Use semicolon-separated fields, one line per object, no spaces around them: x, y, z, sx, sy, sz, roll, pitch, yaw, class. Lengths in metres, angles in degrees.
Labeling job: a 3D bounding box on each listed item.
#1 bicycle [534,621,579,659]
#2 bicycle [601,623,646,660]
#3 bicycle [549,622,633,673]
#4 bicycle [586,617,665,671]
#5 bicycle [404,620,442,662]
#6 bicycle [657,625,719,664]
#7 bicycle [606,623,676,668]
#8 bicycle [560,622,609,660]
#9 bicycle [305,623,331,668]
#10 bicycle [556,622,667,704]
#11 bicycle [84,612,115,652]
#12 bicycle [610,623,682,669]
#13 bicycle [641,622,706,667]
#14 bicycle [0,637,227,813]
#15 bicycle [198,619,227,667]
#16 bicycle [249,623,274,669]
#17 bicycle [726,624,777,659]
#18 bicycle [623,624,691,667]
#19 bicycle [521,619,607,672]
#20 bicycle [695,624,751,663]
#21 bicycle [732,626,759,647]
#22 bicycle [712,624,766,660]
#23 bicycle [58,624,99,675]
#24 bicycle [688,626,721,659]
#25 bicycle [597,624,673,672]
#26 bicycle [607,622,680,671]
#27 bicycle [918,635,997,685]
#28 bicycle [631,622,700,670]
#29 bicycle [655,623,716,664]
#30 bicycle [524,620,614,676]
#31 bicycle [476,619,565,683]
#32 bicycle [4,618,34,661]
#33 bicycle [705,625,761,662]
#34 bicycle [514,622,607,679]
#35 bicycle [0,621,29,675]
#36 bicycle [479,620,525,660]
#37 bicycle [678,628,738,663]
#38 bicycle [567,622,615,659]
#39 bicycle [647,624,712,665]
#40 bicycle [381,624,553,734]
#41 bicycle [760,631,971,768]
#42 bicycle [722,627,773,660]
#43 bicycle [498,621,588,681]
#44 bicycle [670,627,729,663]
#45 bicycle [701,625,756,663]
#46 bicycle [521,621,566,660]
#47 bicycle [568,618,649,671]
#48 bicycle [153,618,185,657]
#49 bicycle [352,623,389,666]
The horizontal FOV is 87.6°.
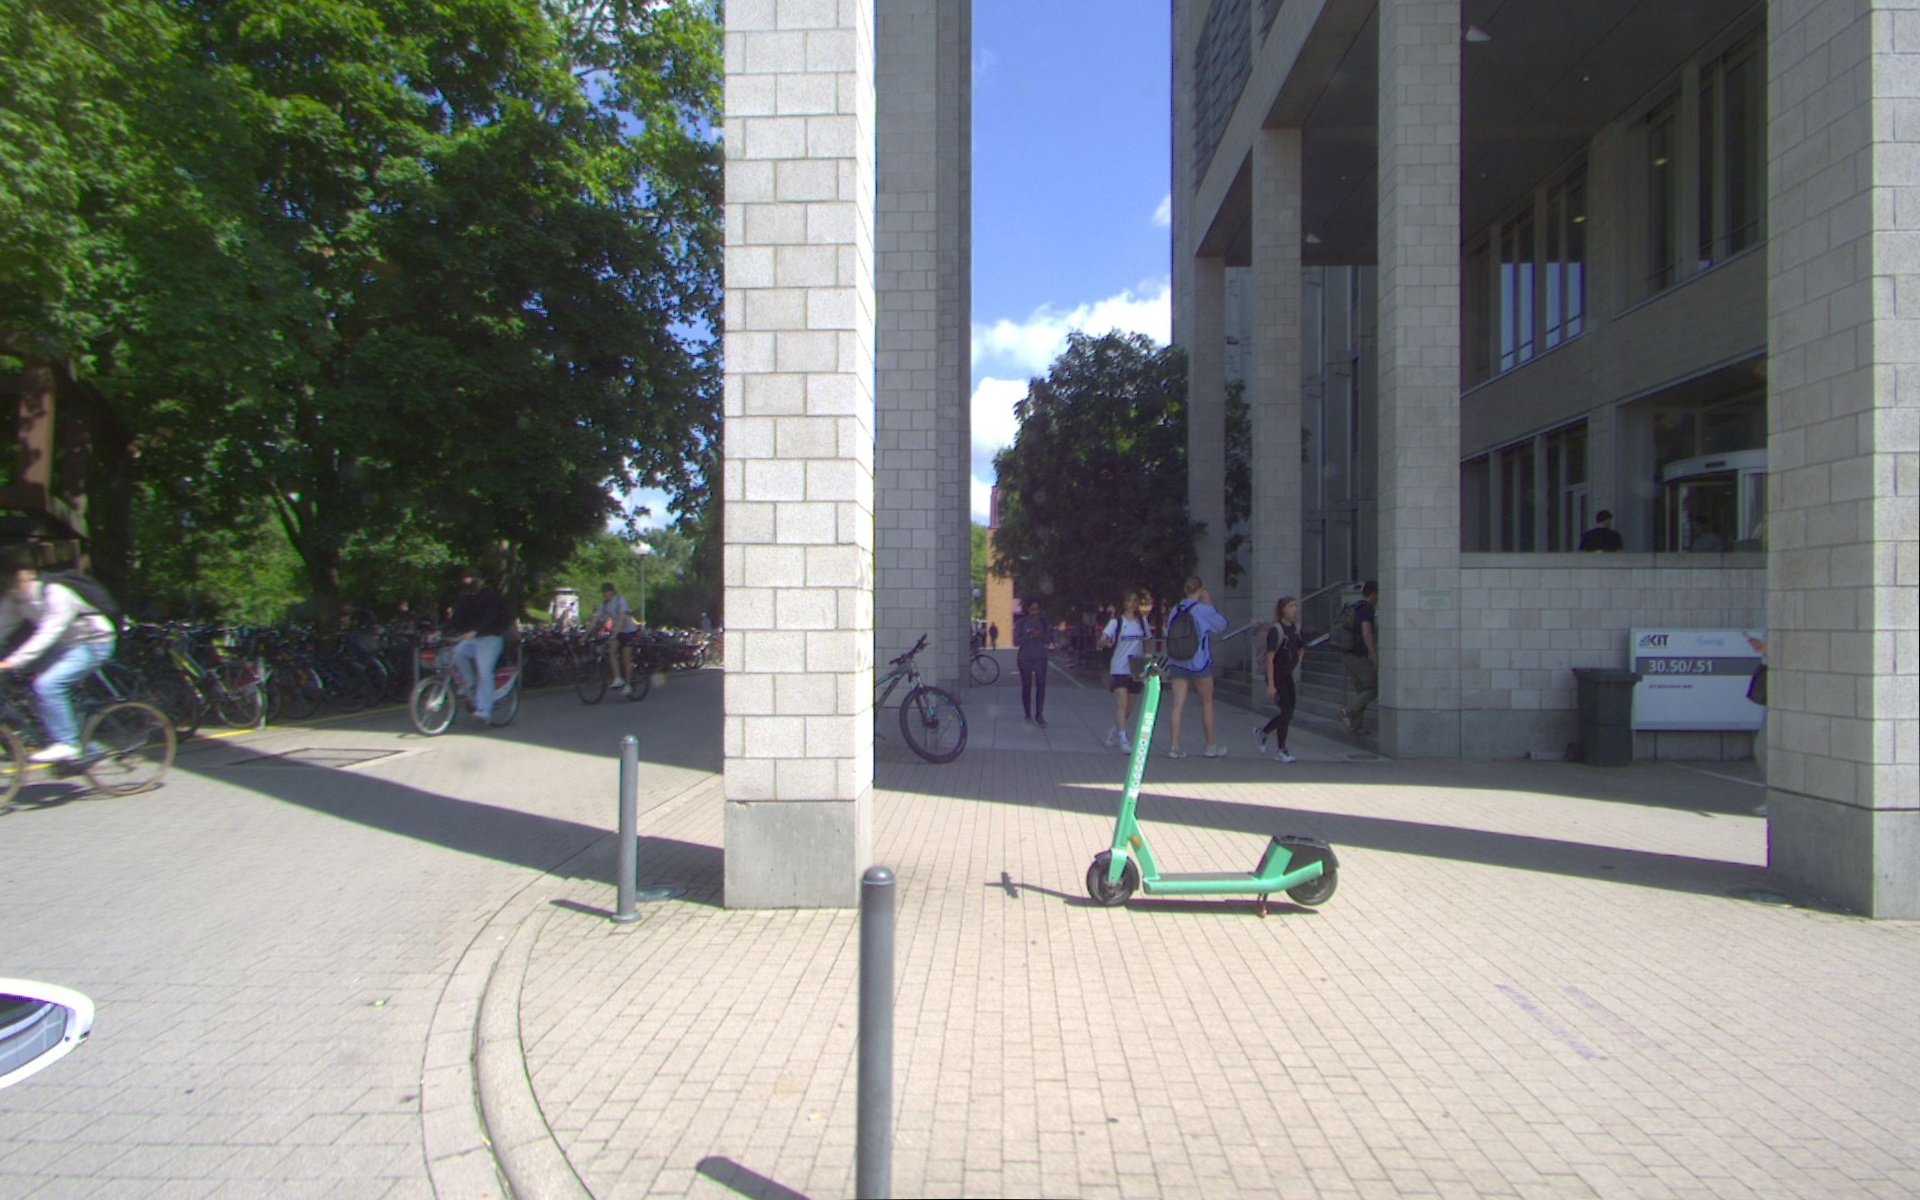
-12.075;1.179;29.971;1.678;1.097;0.471;0;-2;39;bicycle
-10.507;1.297;31.214;1.678;1.097;0.471;0;-2;38;bicycle
-8.433;1.087;22.927;1.708;1.122;0.497;2;-1;-10;bicycle
-8.066;1.070;24.164;1.707;1.251;0.497;2;-1;-5;bicycle
-14.587;1.092;27.179;0.469;1.097;1.684;2;-2;-42;bicycle
-7.940;1.300;29.239;1.673;1.122;0.472;2;-1;-25;bicycle
-8.271;1.183;26.009;1.667;1.122;0.474;2;-1;-9;bicycle
-11.285;1.220;30.066;1.676;1.097;0.471;0;-2;34;bicycle
-16.333;1.150;25.460;0.468;1.097;1.688;2;-2;-35;bicycle
-5.521;0.983;16.010;0.790;1.187;1.886;2;-2;11;bicycle
-24.746;0.916;28.784;1.759;1.124;0.513;0;-2;45;bicycle
-8.021;1.177;25.624;1.667;1.122;0.474;2;-1;-9;bicycle
-7.985;1.234;27.980;1.667;1.203;0.474;2;-1;-9;bicycle
-6.389;0.843;7.109;0.630;1.122;1.814;2;-1;26;bicycle
-17.700;1.016;23.730;0.468;1.097;1.688;2;-2;-35;bicycle
-17.106;1.118;24.529;0.468;1.097;1.688;2;-2;-35;bicycle
-7.292;1.463;35.061;1.667;1.174;0.474;2;-1;-6;bicycle
-8.293;1.237;27.442;1.667;1.122;0.566;2;-1;-9;bicycle
-8.717;1.011;22.087;1.712;1.122;0.496;2;-1;-21;bicycle
-7.499;1.382;31.731;1.669;1.183;0.473;2;-1;-14;bicycle
-11.612;1.987;54.244;0.466;1.060;1.696;3;-2;24;bicycle
-7.460;1.422;33.837;1.667;1.183;0.474;1;-1;-3;bicycle
-19.675;1.092;22.371;0.468;1.097;1.688;2;-2;-35;bicycle
-8.669;1.439;33.979;0.498;1.097;1.700;1;-2;6;bicycle
-7.981;1.173;24.638;1.667;1.122;0.497;2;-1;-8;bicycle
-7.941;1.168;25.162;1.667;1.160;0.474;2;-1;-9;bicycle
-0.060;1.308;21.881;1.710;1.053;0.449;0;0;-2;bicycle
-7.807;1.218;26.587;1.667;1.214;0.537;2;-1;-6;bicycle
-8.132;1.298;29.661;1.673;1.172;0.472;2;-1;-25;bicycle
-8.350;1.027;21.417;1.707;1.140;0.497;1;-1;-2;bicycle
-8.458;0.970;19.273;1.600;1.158;0.496;1;-1;17;bicycle
-25.857;1.074;27.507;1.759;1.124;0.513;0;-2;45;bicycle
-7.474;1.435;32.984;1.749;1.183;0.474;1;-1;16;bicycle
-8.290;1.039;20.793;1.707;1.122;0.497;1;-1;3;bicycle
-20.491;1.014;21.465;0.468;1.097;1.847;2;-2;-35;bicycle
-13.139;1.147;28.730;1.678;1.097;0.471;0;-2;39;bicycle
-7.658;1.403;30.490;1.677;1.031;0.471;3;-2;-32;bicycle
-11.310;1.235;30.680;1.676;1.097;0.471;0;-2;34;bicycle
-7.972;1.277;28.508;1.667;1.122;0.582;2;-1;-9;bicycle
-5.724;0.891;11.771;0.663;1.155;1.885;2;-2;17;bicycle
-0.850;0.895;9.241;1.850;1.179;0.605;-1;0;-2;bicycle
-7.337;1.494;34.592;1.667;1.105;0.474;1;-1;-3;bicycle
-8.293;1.006;19.919;1.711;1.122;0.573;1;-1;22;bicycle
-8.009;1.397;30.860;1.677;1.075;0.471;3;-2;-32;bicycle
-7.449;1.405;32.271;1.668;1.183;0.474;2;-1;-10;bicycle
-12.294;1.183;29.539;1.678;1.097;0.471;0;-2;39;bicycle
-8.282;1.056;23.612;1.707;1.193;0.497;1;-1;2;bicycle
-23.607;1.110;29.863;1.759;1.124;0.513;0;-2;45;bicycle
-15.589;1.161;26.469;0.469;1.097;1.684;2;-2;-42;bicycle
